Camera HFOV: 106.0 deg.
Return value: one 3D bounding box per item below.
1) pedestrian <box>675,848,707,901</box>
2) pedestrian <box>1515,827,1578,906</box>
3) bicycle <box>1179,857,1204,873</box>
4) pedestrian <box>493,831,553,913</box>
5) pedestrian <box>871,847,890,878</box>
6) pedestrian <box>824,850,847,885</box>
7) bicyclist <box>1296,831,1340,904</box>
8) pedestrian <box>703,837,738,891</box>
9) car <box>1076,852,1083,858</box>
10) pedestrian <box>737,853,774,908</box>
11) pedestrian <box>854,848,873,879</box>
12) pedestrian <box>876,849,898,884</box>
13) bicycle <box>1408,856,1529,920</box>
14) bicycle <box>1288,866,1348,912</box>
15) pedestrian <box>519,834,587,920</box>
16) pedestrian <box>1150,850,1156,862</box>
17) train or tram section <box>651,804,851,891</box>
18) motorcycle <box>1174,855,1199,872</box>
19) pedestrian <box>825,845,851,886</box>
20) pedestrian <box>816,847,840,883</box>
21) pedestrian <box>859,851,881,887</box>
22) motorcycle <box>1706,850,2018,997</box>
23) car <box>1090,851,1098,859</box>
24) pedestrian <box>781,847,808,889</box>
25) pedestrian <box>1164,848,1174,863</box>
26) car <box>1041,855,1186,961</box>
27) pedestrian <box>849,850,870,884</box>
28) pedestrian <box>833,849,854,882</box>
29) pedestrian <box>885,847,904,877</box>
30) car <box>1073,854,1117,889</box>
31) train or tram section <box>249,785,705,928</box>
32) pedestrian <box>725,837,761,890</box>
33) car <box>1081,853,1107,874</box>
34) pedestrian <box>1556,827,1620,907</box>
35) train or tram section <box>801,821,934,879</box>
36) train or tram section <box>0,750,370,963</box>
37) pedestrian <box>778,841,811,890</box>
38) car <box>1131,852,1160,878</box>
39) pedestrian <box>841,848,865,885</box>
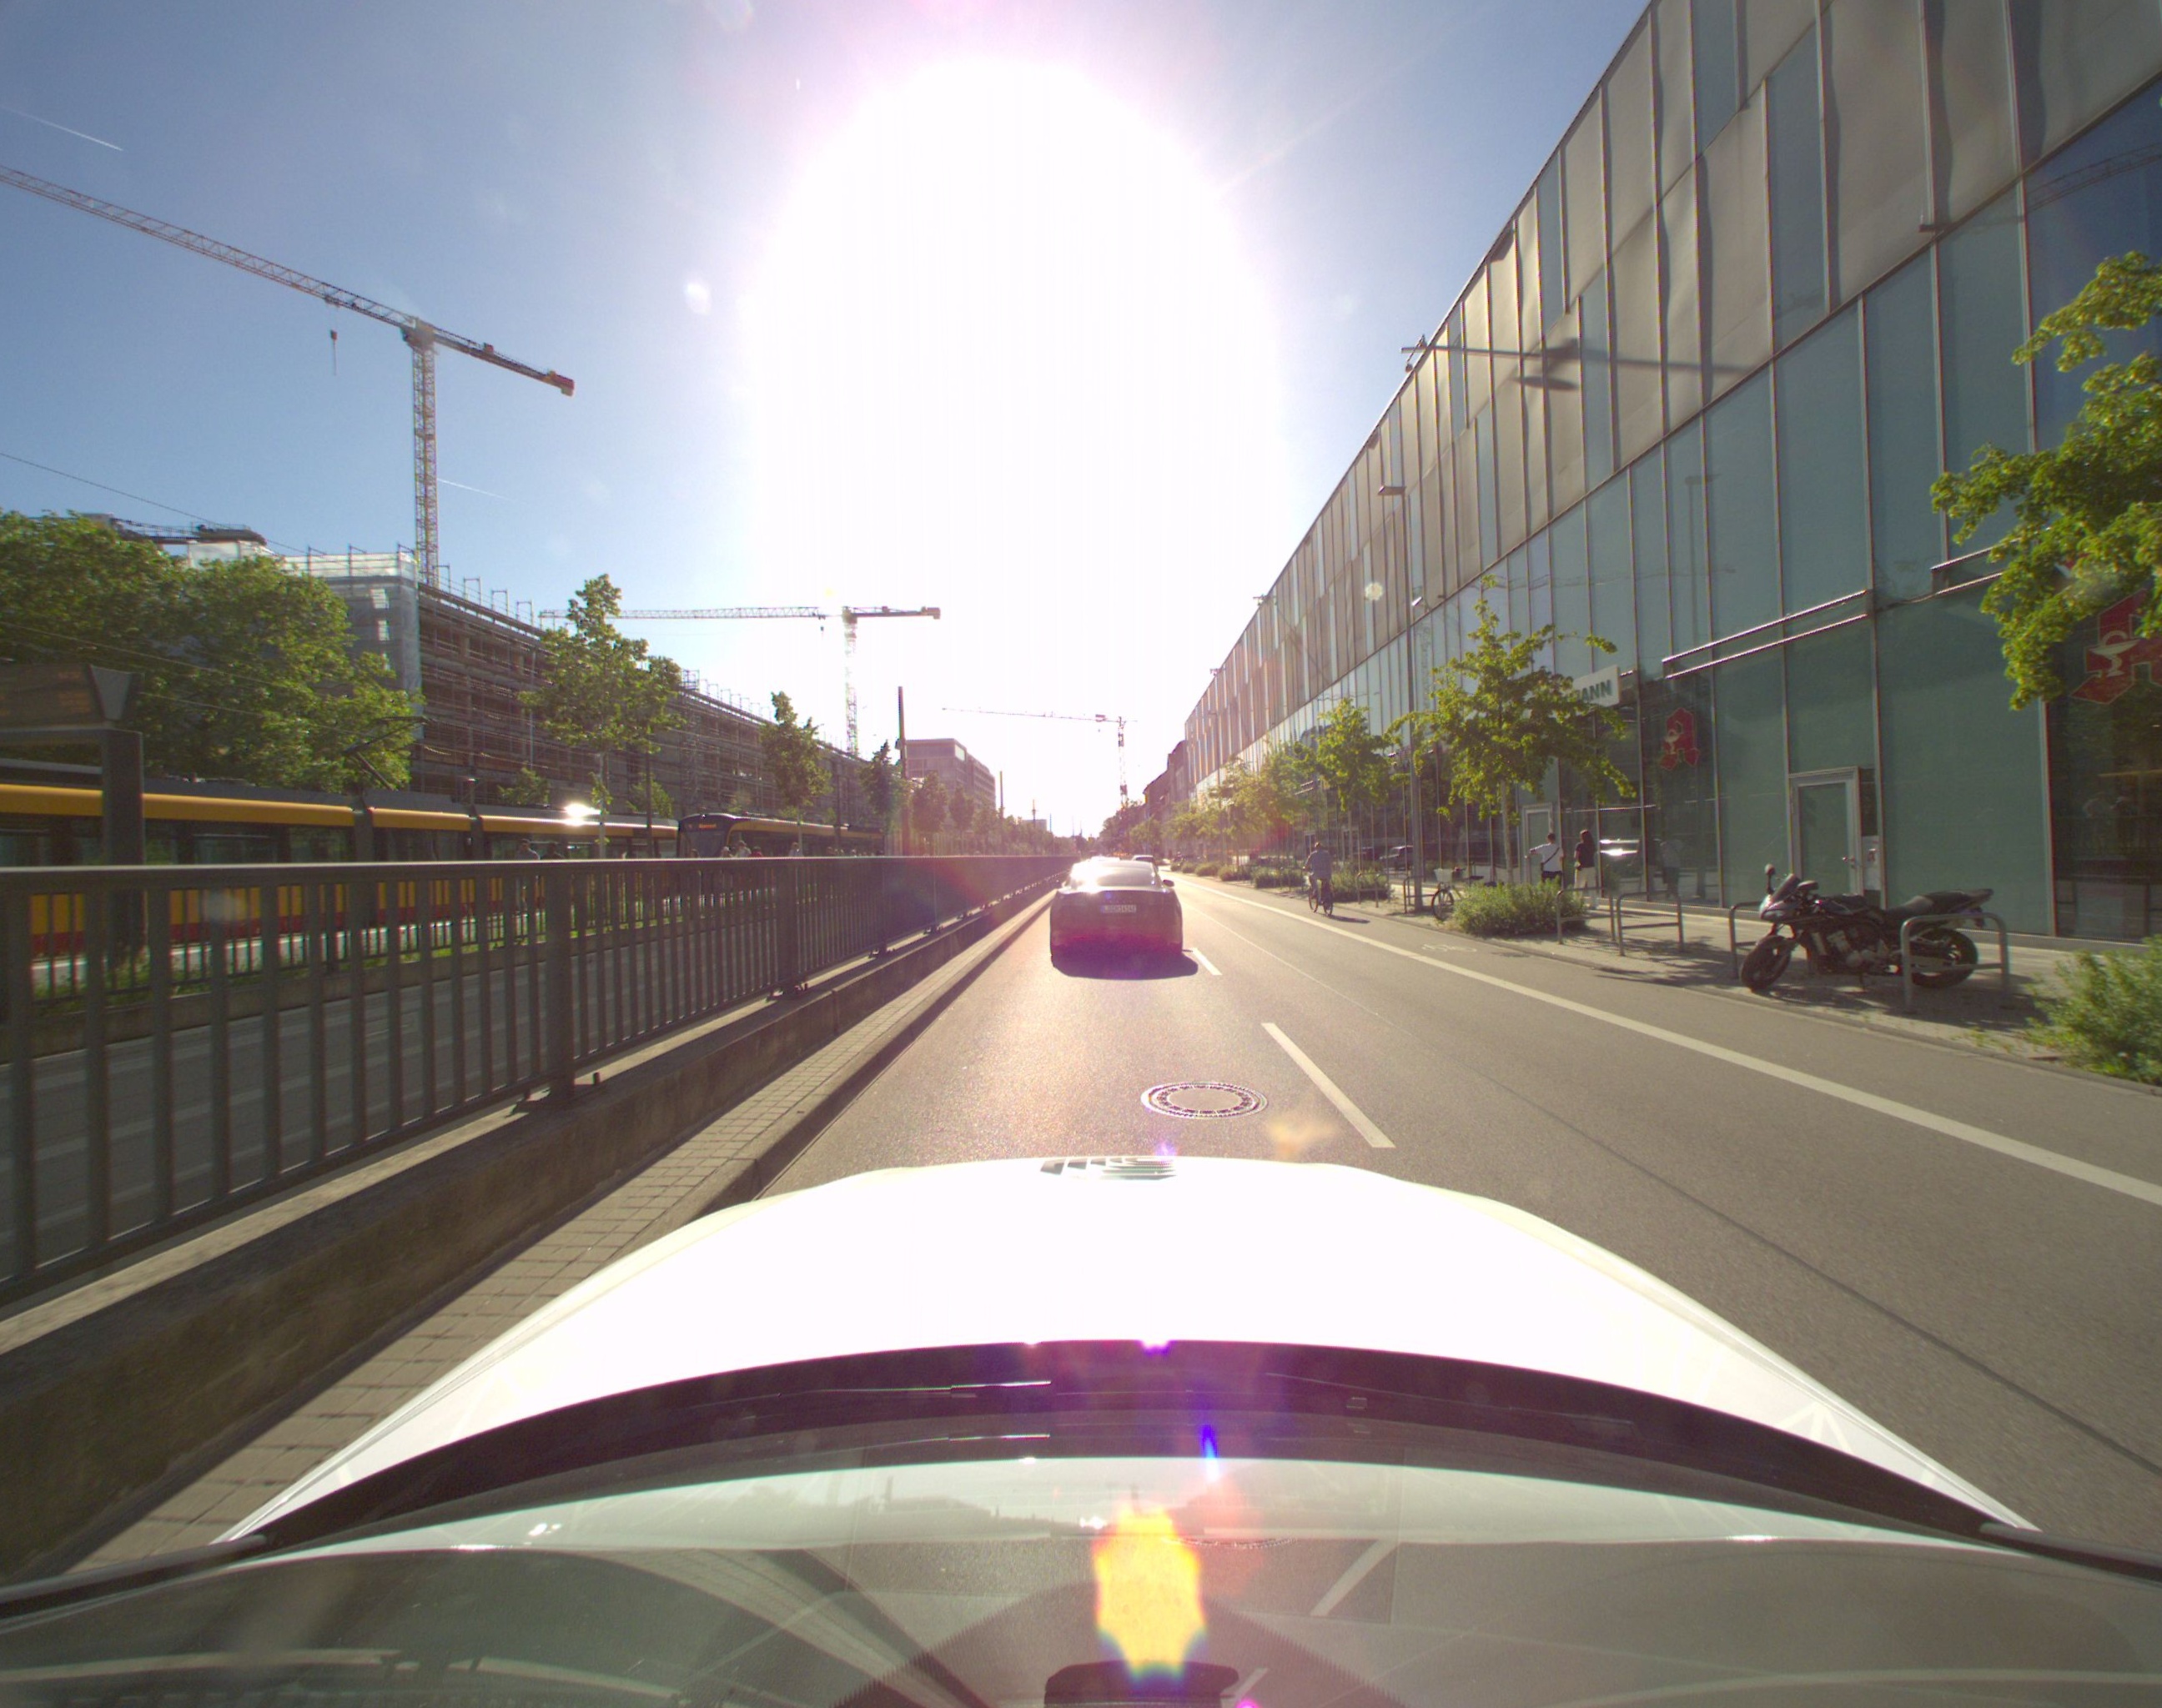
[{"bbox_3d":[-11.435,0.591,23.870,0.645,1.512,0.588,0,0,-2],"label":"pedestrian"},{"bbox_3d":[10.121,0.266,17.737,0.819,1.658,0.899,-2,0,-3],"label":"pedestrian"},{"bbox_3d":[9.136,0.914,67.452,1.881,1.151,0.669,-3,0,-9],"label":"bicycle"},{"bbox_3d":[-12.421,0.391,18.139,0.759,1.775,0.826,0,0,-1],"label":"pedestrian"},{"bbox_3d":[-10.797,0.433,43.796,0.738,1.628,0.862,-2,0,2],"label":"pedestrian"},{"bbox_3d":[-11.792,0.627,39.118,0.738,1.628,0.862,-2,0,2],"label":"pedestrian"},{"bbox_3d":[5.848,0.334,20.172,0.723,1.737,0.997,-2,-1,-2],"label":"bicyclist"},{"bbox_3d":[-12.580,0.343,28.421,0.669,1.811,1.075,-2,-1,1],"label":"pedestrian"},{"bbox_3d":[-0.387,0.263,232.558,1.987,1.684,4.000,0,-1,0],"label":"car"},{"bbox_3d":[-9.983,0.794,24.987,0.738,1.628,0.862,-2,0,2],"label":"pedestrian"},{"bbox_3d":[-11.702,0.486,43.885,0.738,1.628,0.862,-2,0,2],"label":"pedestrian"},{"bbox_3d":[-9.041,0.580,38.002,0.738,1.628,0.862,-2,0,2],"label":"pedestrian"},{"bbox_3d":[8.128,0.709,17.173,2.074,1.205,0.952,-3,-1,7],"label":"bicycle"},{"bbox_3d":[5.861,0.833,20.263,0.727,0.983,2.331,-2,1,-2],"label":"bicycle"},{"bbox_3d":[-11.115,0.462,17.162,0.788,1.775,0.978,0,0,-1],"label":"pedestrian"},{"bbox_3d":[12.143,0.352,137.870,0.848,1.863,0.930,-2,-1,0],"label":"pedestrian"},{"bbox_3d":[-14.594,-0.241,38.344,2.860,3.279,15.190,0,0,2],"label":"train or tram section"},{"bbox_3d":[9.340,0.855,72.091,2.054,1.353,0.656,-5,-1,24],"label":"motorcycle"},{"bbox_3d":[-9.820,0.448,32.944,0.738,1.628,0.862,-2,0,2],"label":"pedestrian"},{"bbox_3d":[-11.568,0.503,37.276,0.738,1.628,0.862,-2,0,2],"label":"pedestrian"},{"bbox_3d":[-9.822,0.698,37.915,0.738,1.628,0.862,-2,0,2],"label":"pedestrian"},{"bbox_3d":[7.863,0.680,8.309,2.178,1.324,0.904,-3,-1,5],"label":"motorcycle"},{"bbox_3d":[3.140,0.287,193.773,1.806,1.809,4.042,-1,0,3],"label":"car"},{"bbox_3d":[-11.946,0.589,33.951,0.738,1.694,0.862,-2,0,2],"label":"pedestrian"},{"bbox_3d":[11.548,0.233,106.873,1.091,1.863,1.522,-2,0,0],"label":"pedestrian"},{"bbox_3d":[0.607,0.757,13.544,1.990,1.434,4.417,-1,0,4],"label":"car"},{"bbox_3d":[-10.881,0.612,40.024,0.738,1.628,0.947,-2,0,2],"label":"pedestrian"},{"bbox_3d":[-11.992,0.552,41.092,0.738,1.628,0.862,-2,0,2],"label":"pedestrian"},{"bbox_3d":[-10.329,0.450,45.107,0.738,1.628,0.862,-2,0,2],"label":"pedestrian"},{"bbox_3d":[0.623,0.700,34.093,1.710,1.320,4.002,-1,0,2],"label":"car"},{"bbox_3d":[-17.746,0.055,26.949,2.837,3.321,15.971,0,0,2],"label":"train or tram section"},{"bbox_3d":[-11.806,0.322,28.463,0.767,1.811,1.031,-2,-1,1],"label":"pedestrian"},{"bbox_3d":[1.100,0.794,68.088,1.879,1.596,4.005,-2,0,4],"label":"car"},{"bbox_3d":[10.950,0.271,17.625,0.705,1.658,0.899,-4,0,-3],"label":"pedestrian"},{"bbox_3d":[-14.063,-0.215,57.046,2.860,3.279,22.150,0,0,2],"label":"train or tram section"},{"bbox_3d":[-18.169,0.035,12.421,2.860,3.309,13.077,0,0,2],"label":"train or tram section"},{"bbox_3d":[-11.048,0.428,31.430,0.883,1.851,1.007,-2,0,1],"label":"pedestrian"},{"bbox_3d":[4.127,0.698,52.568,1.777,1.546,4.042,-1,0,3],"label":"car"},{"bbox_3d":[-10.310,0.548,36.839,0.738,1.628,0.862,-2,0,2],"label":"pedestrian"}]
